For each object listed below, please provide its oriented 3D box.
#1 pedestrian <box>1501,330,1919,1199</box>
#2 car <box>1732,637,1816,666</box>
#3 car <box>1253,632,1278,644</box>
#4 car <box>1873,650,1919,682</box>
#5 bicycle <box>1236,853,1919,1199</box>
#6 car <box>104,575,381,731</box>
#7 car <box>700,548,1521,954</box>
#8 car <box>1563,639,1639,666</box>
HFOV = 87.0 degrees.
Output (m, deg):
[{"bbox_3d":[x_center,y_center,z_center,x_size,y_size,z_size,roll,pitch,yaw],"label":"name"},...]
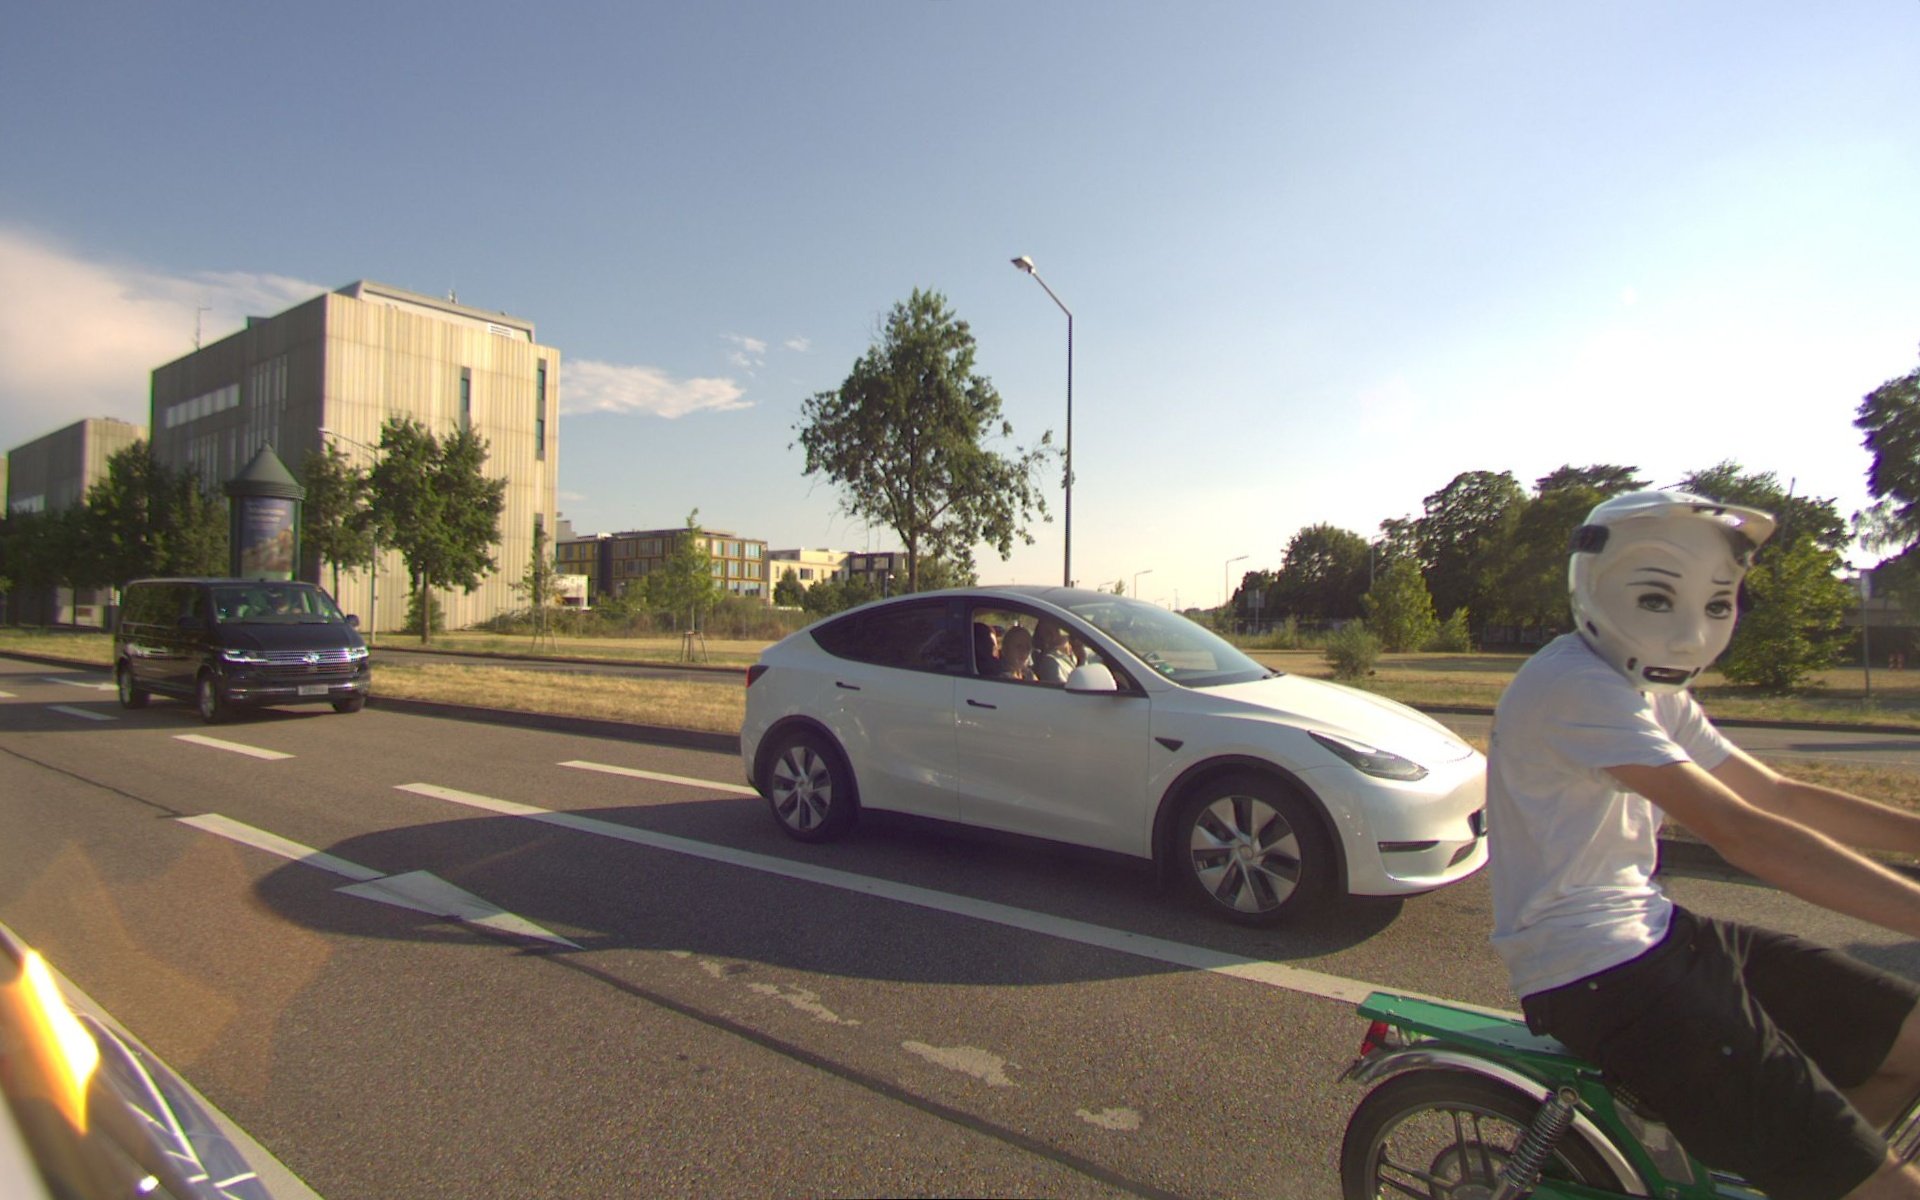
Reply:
[{"bbox_3d":[1.406,0.423,1.581,0.854,1.530,0.649,-1,-3,41],"label":"pedestrian"},{"bbox_3d":[44.601,2.800,55.525,1.557,1.558,3.383,1,-2,-10],"label":"car"},{"bbox_3d":[31.983,3.974,106.024,1.315,1.302,2.810,1,-2,-10],"label":"car"},{"bbox_3d":[48.444,3.315,50.176,1.627,1.537,4.415,1,-2,-23],"label":"car"},{"bbox_3d":[1.374,0.991,1.485,1.855,0.882,0.472,-1,-3,41],"label":"bicycle"},{"bbox_3d":[-10.643,0.687,14.871,5.003,1.947,1.839,-1,-1,36],"label":"car"},{"bbox_3d":[0.621,0.637,6.130,4.669,1.611,1.719,-1,-1,37],"label":"car"},{"bbox_3d":[38.596,3.124,61.056,1.629,1.537,3.952,1,-2,-10],"label":"car"}]
